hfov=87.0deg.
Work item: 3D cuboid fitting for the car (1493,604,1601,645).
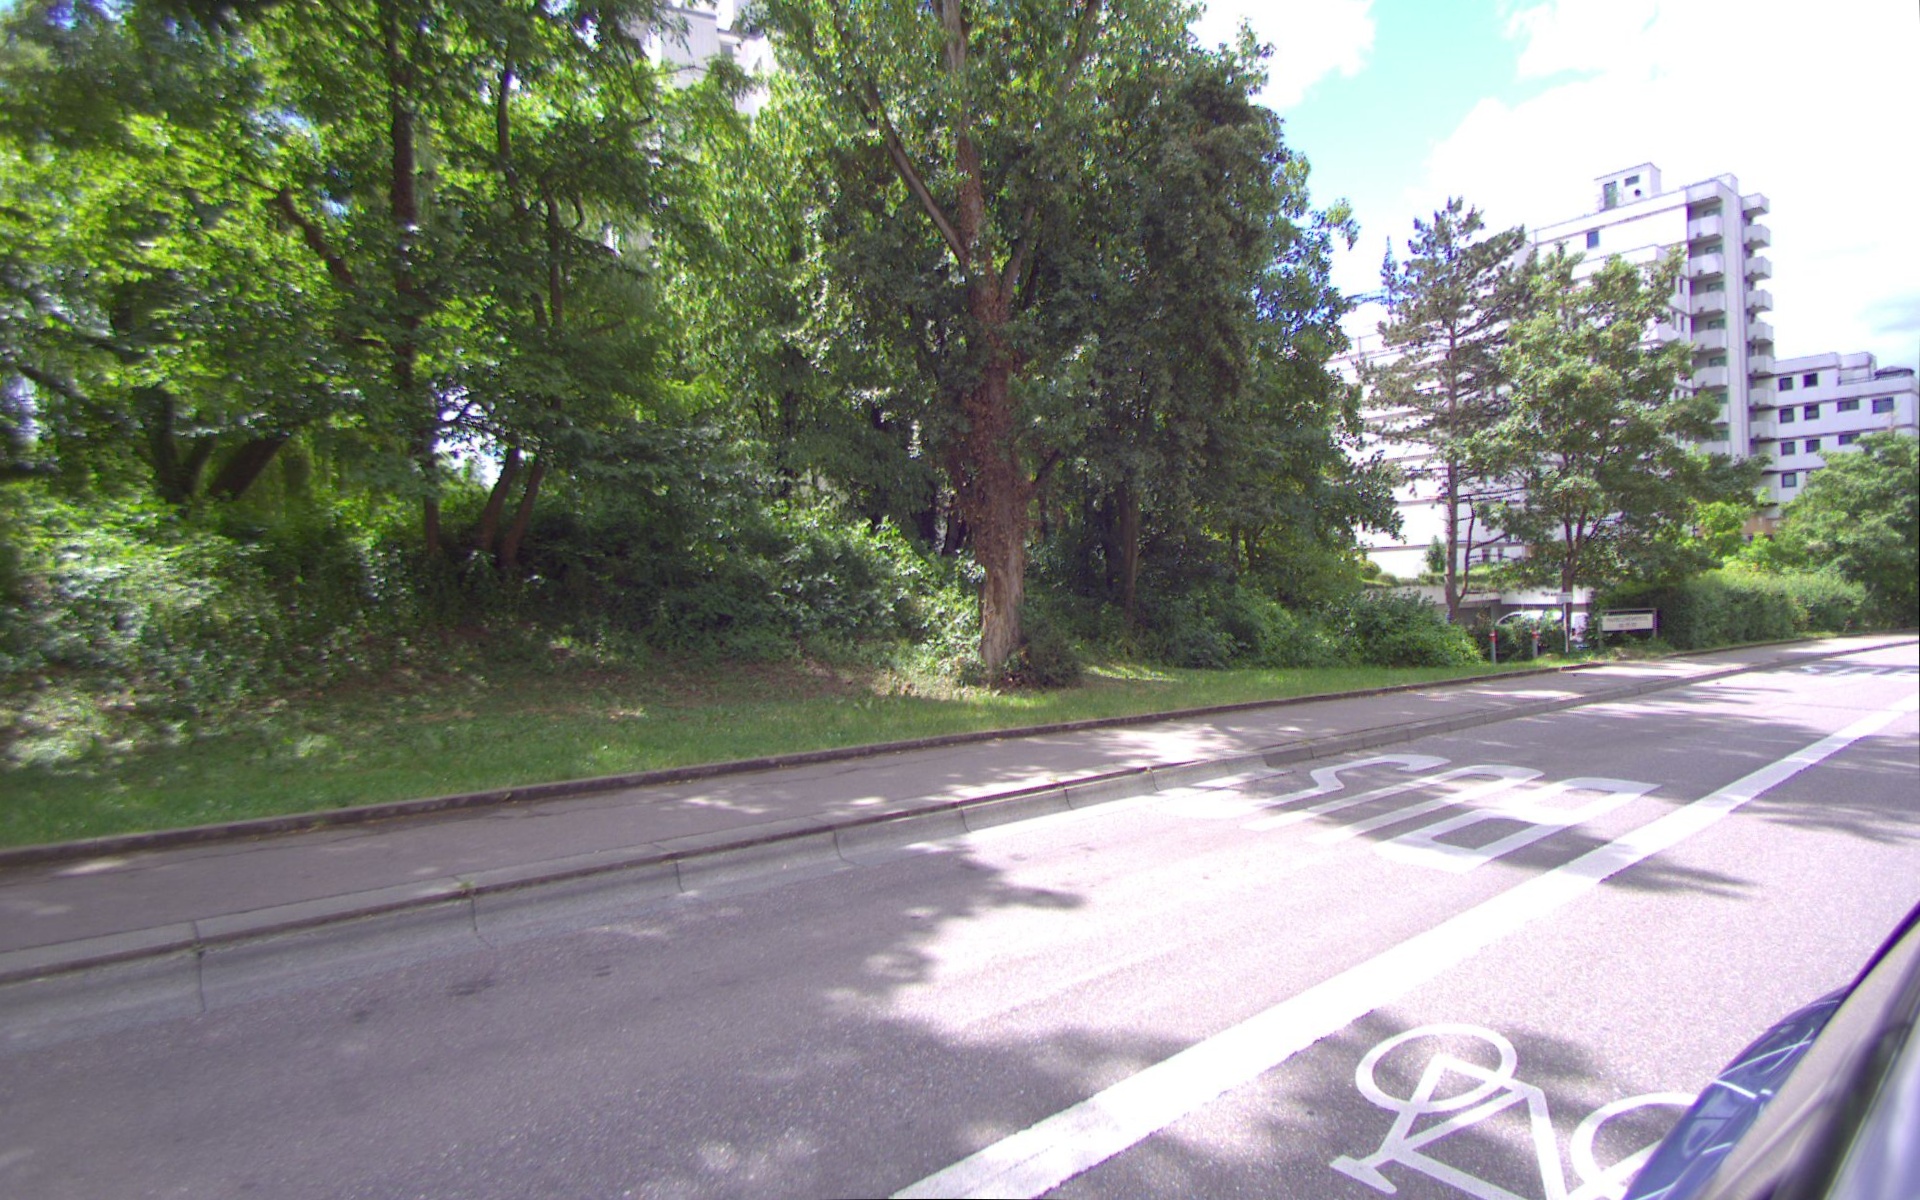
[{"bbox_3d":[31.045,1.232,53.636,1.962,2.039,4.549,-1,0,-34],"label":"car"}]
